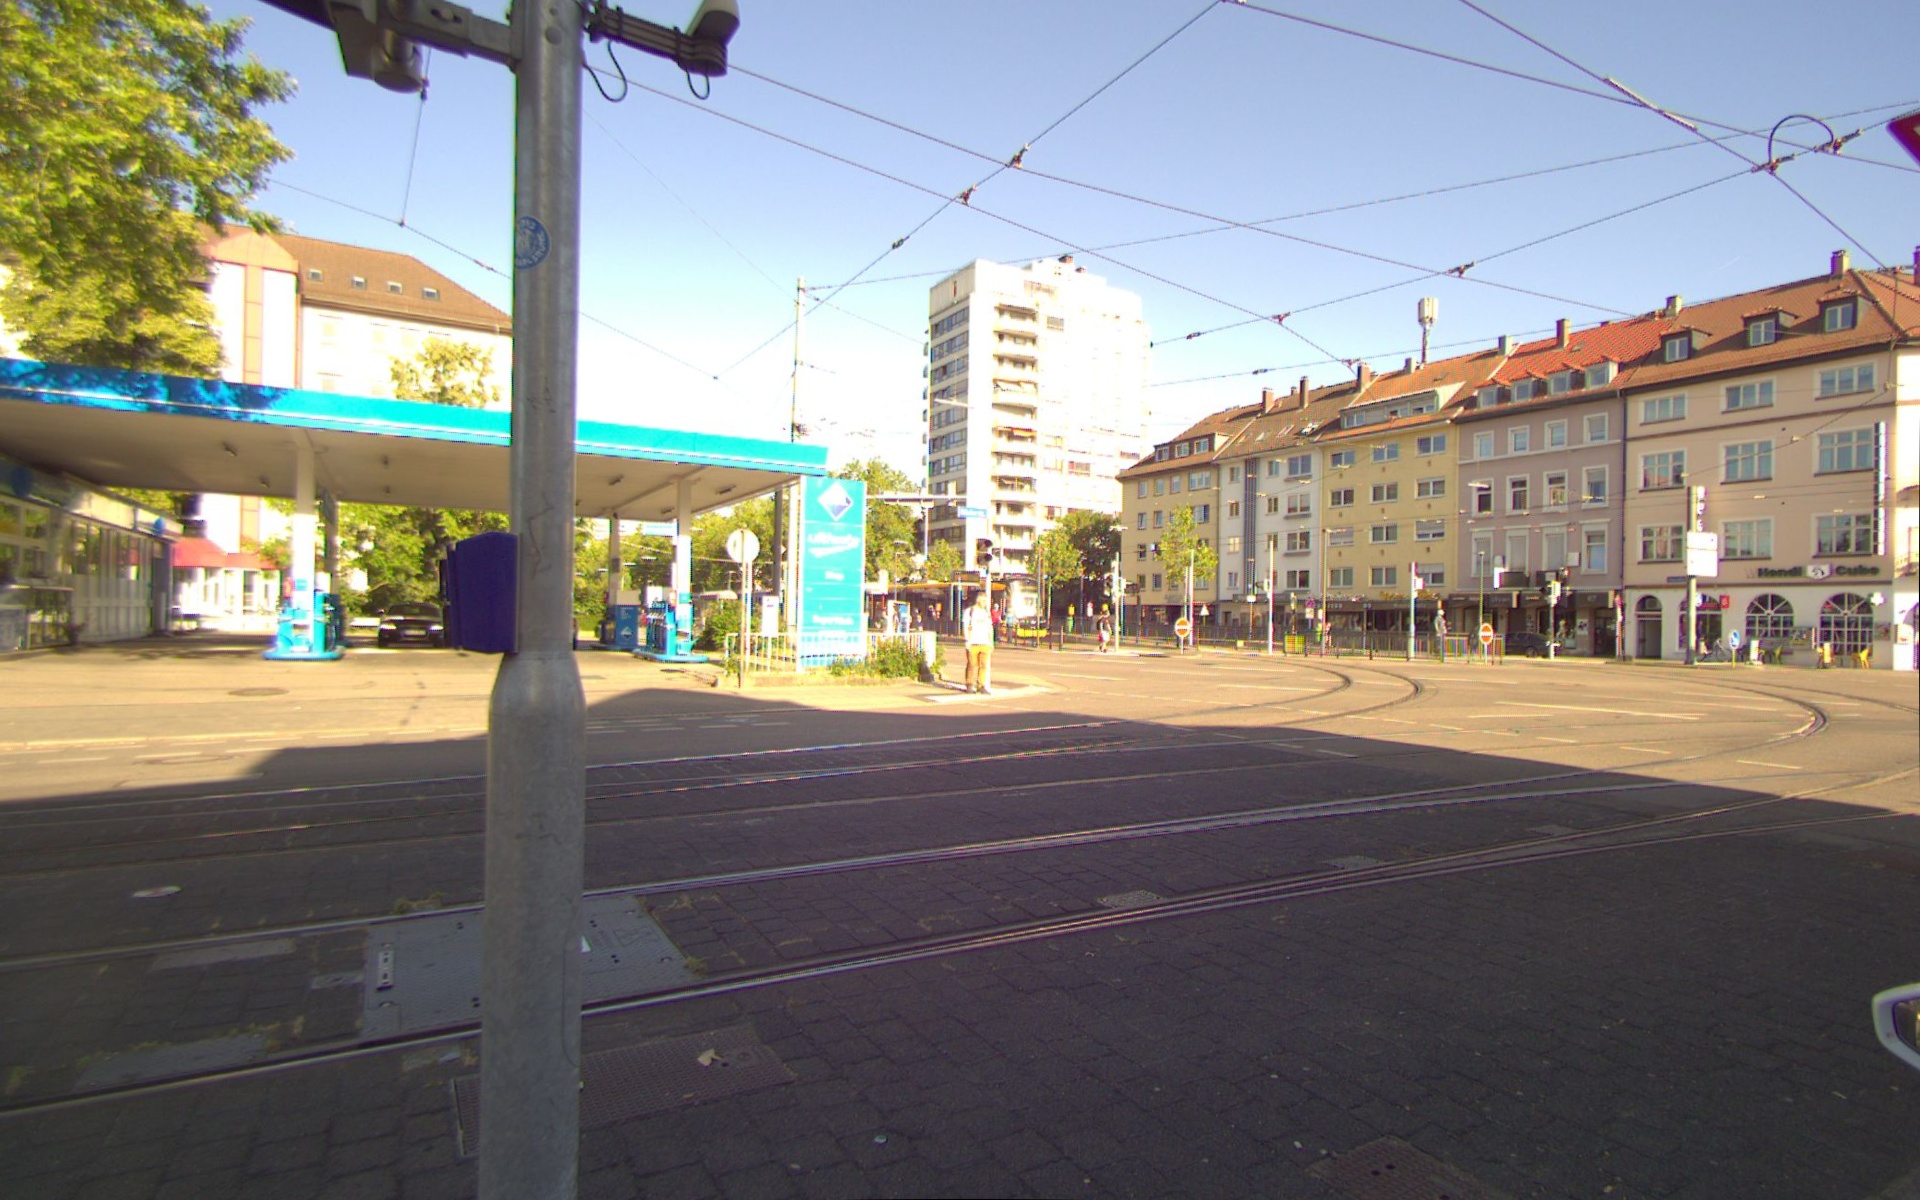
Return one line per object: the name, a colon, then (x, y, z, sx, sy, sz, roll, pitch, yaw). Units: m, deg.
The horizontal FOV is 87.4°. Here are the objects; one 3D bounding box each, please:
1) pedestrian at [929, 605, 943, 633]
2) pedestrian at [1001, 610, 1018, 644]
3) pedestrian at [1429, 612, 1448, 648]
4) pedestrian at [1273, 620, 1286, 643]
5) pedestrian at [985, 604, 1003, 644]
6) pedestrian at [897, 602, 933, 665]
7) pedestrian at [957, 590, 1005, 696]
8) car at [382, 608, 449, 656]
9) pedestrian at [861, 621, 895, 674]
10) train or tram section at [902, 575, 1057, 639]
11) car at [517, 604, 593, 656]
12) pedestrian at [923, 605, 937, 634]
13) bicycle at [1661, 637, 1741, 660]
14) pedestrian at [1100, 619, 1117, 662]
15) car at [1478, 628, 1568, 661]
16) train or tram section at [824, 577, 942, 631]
pedestrian: (-1.357, 1.084, 57.127, 0.580, 1.613, 0.520, 2, 0, -31)
pedestrian: (2.377, 1.283, 47.834, 0.580, 1.613, 0.520, 2, 0, -31)
pedestrian: (22.001, 1.392, 46.203, 0.570, 1.649, 0.522, 2, 0, -31)
pedestrian: (23.782, 2.329, 74.744, 0.693, 1.656, 0.629, 2, 0, -33)
pedestrian: (1.646, 1.186, 49.081, 0.666, 1.913, 0.520, 2, 0, -31)
pedestrian: (-1.204, 0.892, 26.866, 0.675, 1.656, 0.694, 2, 0, -35)
pedestrian: (0.389, 0.780, 18.514, 0.778, 1.893, 0.674, 2, 0, 6)
car: (-16.389, 0.937, 30.192, 1.646, 1.316, 3.453, 2, 0, -30)
pedestrian: (-2.562, 1.465, 31.407, 0.694, 1.608, 0.819, 0, -1, 40)
train or tram section: (0.785, 0.311, 57.588, 2.751, 3.273, 12.286, 2, 0, -31)
car: (-12.145, 0.861, 29.997, 1.764, 1.411, 3.455, 2, 0, -28)
pedestrian: (-1.694, 1.070, 56.231, 0.580, 1.613, 0.520, 2, 0, -31)
bicycle: (37.503, 2.445, 50.897, 0.989, 0.993, 3.115, 2, 0, -29)
pedestrian: (5.912, 1.617, 40.038, 0.575, 1.686, 0.525, 2, 0, 15)
car: (30.857, 2.421, 55.141, 1.970, 1.692, 3.981, 1, -1, -21)
train or tram section: (-5.463, 0.207, 68.037, 2.751, 3.273, 12.286, 2, 0, -31)
